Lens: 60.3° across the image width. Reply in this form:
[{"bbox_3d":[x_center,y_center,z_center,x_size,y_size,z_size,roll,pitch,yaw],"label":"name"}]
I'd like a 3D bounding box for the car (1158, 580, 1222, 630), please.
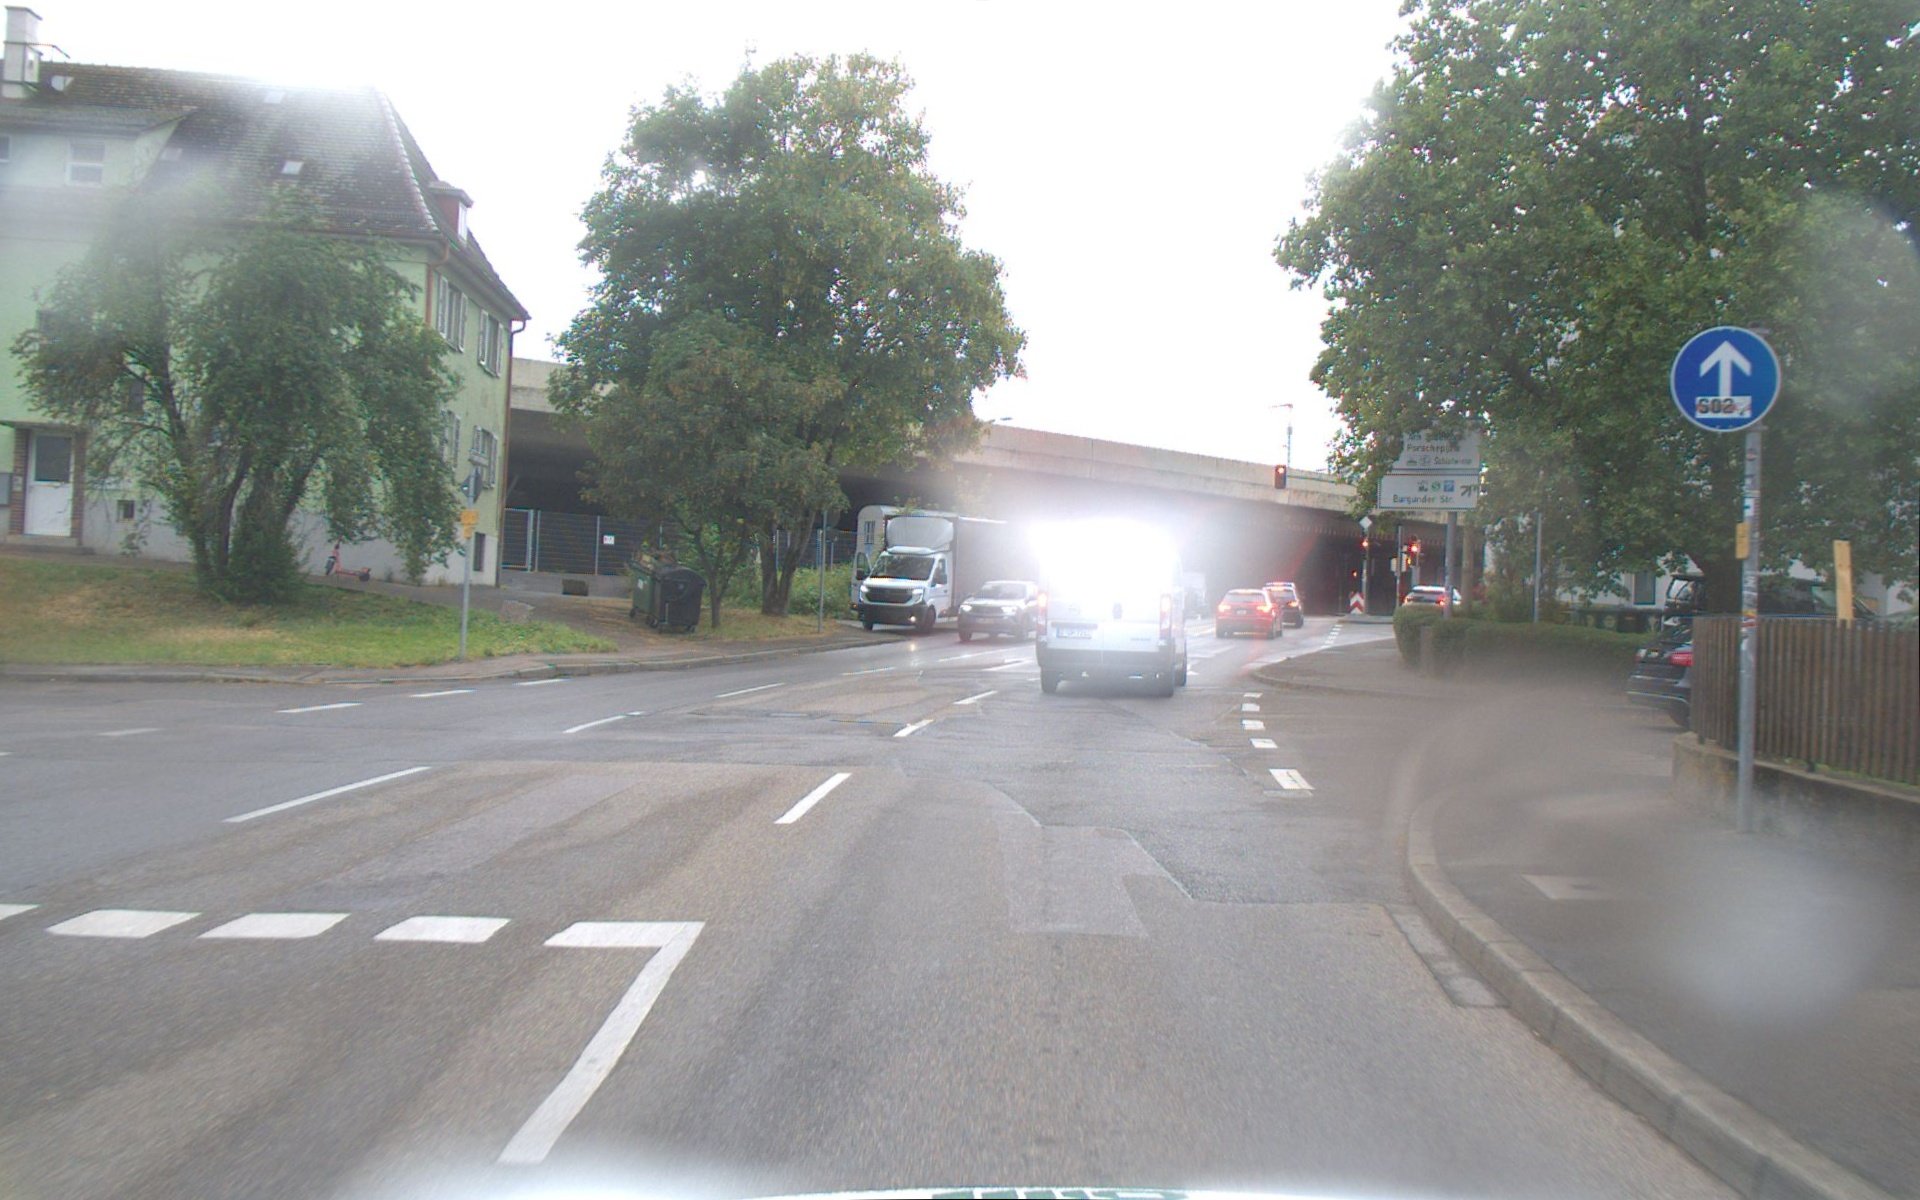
[{"bbox_3d":[9.714,0.205,69.616,1.916,1.965,4.686,2,1,17],"label":"car"}]

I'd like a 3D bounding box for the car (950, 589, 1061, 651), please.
[{"bbox_3d":[1.251,0.489,43.432,1.855,1.487,4.002,2,1,17],"label":"car"}]

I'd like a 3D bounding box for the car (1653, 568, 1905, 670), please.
[{"bbox_3d":[17.221,0.381,34.907,4.313,1.965,1.999,2,0,-4],"label":"car"}]

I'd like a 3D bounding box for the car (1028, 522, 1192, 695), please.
[{"bbox_3d":[2.476,0.062,26.244,2.256,2.384,5.287,2,1,7],"label":"car"}]

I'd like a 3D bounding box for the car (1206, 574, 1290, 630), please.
[{"bbox_3d":[8.725,0.082,49.854,1.952,1.539,4.002,2,0,18],"label":"car"}]

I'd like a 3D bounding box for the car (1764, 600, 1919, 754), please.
[{"bbox_3d":[11.016,0.811,17.559,4.029,1.506,1.886,1,1,-1],"label":"car"}]

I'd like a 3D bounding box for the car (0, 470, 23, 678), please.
[{"bbox_3d":[-15.803,-0.465,20.699,6.666,2.701,2.262,2,0,-3],"label":"car"}]

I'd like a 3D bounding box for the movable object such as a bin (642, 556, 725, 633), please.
[{"bbox_3d":[-6.172,-0.132,36.889,1.276,1.461,1.450,5,4,-30],"label":"movable object such as a bin"}]

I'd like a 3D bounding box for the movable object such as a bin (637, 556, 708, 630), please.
[{"bbox_3d":[-6.661,-0.162,38.275,1.085,1.461,1.450,5,4,-30],"label":"movable object such as a bin"}]

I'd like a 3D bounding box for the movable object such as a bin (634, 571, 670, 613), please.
[{"bbox_3d":[-7.370,-0.186,39.614,0.545,0.974,0.724,2,0,17],"label":"movable object such as a bin"}]

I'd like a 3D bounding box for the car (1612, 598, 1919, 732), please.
[{"bbox_3d":[10.780,0.785,20.493,4.712,1.506,1.883,1,1,-8],"label":"car"}]

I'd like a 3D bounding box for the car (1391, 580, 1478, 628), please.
[{"bbox_3d":[17.088,0.154,59.476,1.958,1.576,3.989,2,0,32],"label":"car"}]

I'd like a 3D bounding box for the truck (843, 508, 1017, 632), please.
[{"bbox_3d":[-0.712,-0.828,48.541,2.556,3.293,7.779,2,1,19],"label":"truck"}]

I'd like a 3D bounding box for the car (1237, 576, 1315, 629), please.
[{"bbox_3d":[11.266,0.104,58.721,1.953,1.759,4.000,2,0,22],"label":"car"}]

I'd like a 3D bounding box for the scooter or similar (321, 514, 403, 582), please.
[{"bbox_3d":[-12.763,-1.112,35.324,1.489,1.295,0.531,6,1,12],"label":"scooter or similar"}]

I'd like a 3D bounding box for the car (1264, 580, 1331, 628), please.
[{"bbox_3d":[13.250,0.171,64.748,1.952,1.759,4.001,2,0,20],"label":"car"}]
